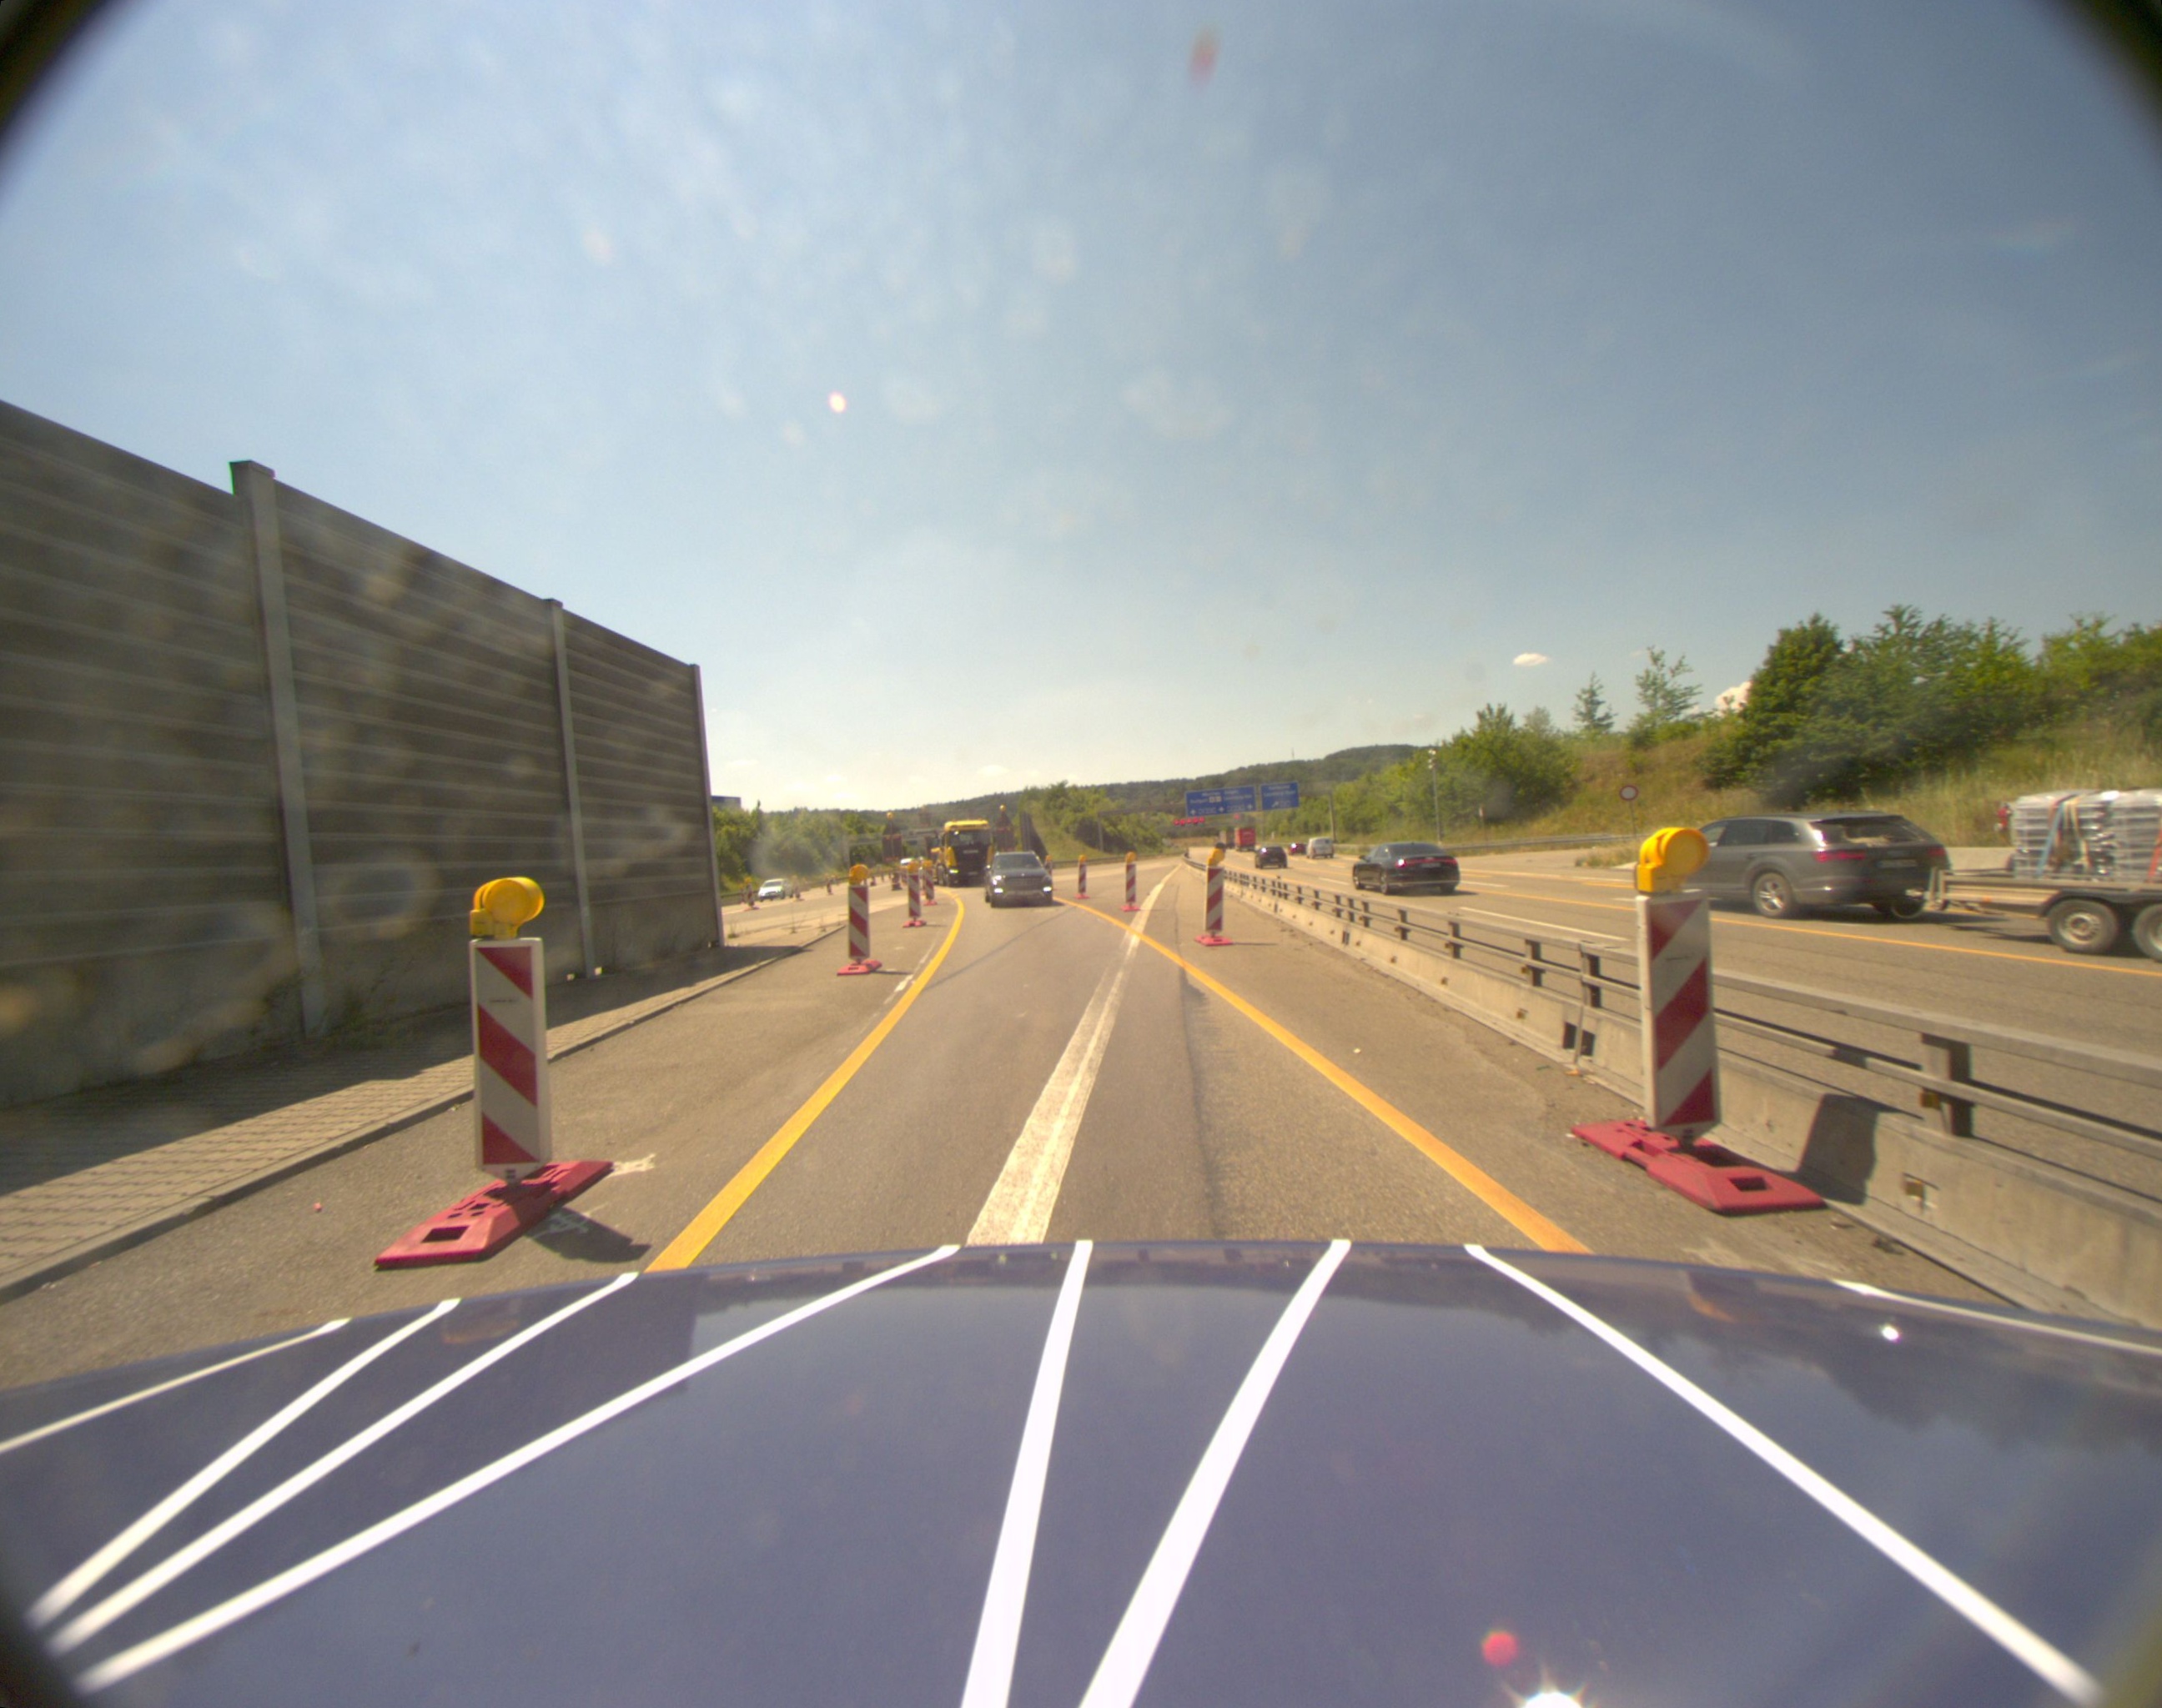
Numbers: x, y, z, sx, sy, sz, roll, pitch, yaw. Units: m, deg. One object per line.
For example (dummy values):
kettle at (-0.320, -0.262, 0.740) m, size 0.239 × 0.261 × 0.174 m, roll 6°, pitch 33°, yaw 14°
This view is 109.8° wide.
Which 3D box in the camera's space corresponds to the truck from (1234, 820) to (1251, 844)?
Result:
truck at (28.784, -3.944, 135.793) m, size 2.338 × 4.084 × 5.019 m, roll -4°, pitch 1°, yaw 8°

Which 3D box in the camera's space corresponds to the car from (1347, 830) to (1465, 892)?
car at (9.490, 0.177, 22.644) m, size 1.777 × 1.584 × 4.988 m, roll -2°, pitch 0°, yaw 6°

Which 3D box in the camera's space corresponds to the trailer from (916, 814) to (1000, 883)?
trailer at (-8.895, -0.089, 52.172) m, size 3.240 × 3.646 × 17.401 m, roll -7°, pitch 0°, yaw -16°

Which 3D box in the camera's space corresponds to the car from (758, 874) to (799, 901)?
car at (-23.525, 2.583, 59.229) m, size 1.820 × 1.686 × 4.489 m, roll -6°, pitch 1°, yaw -8°

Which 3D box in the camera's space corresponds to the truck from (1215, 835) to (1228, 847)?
truck at (24.604, -2.254, 132.917) m, size 1.997 × 1.862 × 4.764 m, roll -4°, pitch 0°, yaw 8°

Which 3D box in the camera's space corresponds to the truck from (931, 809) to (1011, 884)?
truck at (-6.492, -0.309, 43.682) m, size 3.233 × 3.639 × 7.075 m, roll -7°, pitch 1°, yaw -16°

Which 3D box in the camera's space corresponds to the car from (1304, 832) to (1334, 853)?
car at (21.760, -1.081, 69.600) m, size 1.691 × 1.824 × 4.788 m, roll -2°, pitch 1°, yaw 6°

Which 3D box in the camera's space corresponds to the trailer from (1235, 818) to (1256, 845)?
trailer at (27.851, -3.783, 129.344) m, size 2.342 × 4.079 × 13.266 m, roll -4°, pitch 1°, yaw 8°

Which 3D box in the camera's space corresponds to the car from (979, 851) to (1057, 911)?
car at (-2.172, 0.821, 24.902) m, size 1.821 × 1.685 × 4.488 m, roll -3°, pitch 0°, yaw -13°

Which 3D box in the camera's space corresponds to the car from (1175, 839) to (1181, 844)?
car at (31.460, -4.194, 245.837) m, size 1.719 × 1.482 × 3.688 m, roll -4°, pitch 1°, yaw 4°

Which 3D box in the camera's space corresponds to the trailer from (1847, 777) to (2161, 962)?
trailer at (11.510, 0.113, 7.855) m, size 1.950 × 1.794 × 5.525 m, roll -2°, pitch 0°, yaw 6°

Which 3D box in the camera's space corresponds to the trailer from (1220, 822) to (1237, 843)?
trailer at (33.394, -4.801, 172.619) m, size 2.441 × 4.272 × 13.813 m, roll -4°, pitch 1°, yaw 6°

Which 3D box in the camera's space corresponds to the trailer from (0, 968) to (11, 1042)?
trailer at (-19.727, 1.497, 6.314) m, size 2.548 × 3.930 × 13.861 m, roll -7°, pitch 1°, yaw -5°

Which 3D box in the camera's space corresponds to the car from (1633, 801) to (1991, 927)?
car at (12.012, 0.139, 13.094) m, size 1.777 × 1.717 × 4.869 m, roll -2°, pitch 0°, yaw 6°

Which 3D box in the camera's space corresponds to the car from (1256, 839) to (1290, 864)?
car at (13.120, -0.198, 52.126) m, size 1.746 × 1.584 × 4.229 m, roll -2°, pitch 1°, yaw 7°

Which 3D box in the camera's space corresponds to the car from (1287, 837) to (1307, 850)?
car at (24.652, -1.182, 86.847) m, size 1.690 × 1.387 × 4.002 m, roll -2°, pitch 1°, yaw 9°
